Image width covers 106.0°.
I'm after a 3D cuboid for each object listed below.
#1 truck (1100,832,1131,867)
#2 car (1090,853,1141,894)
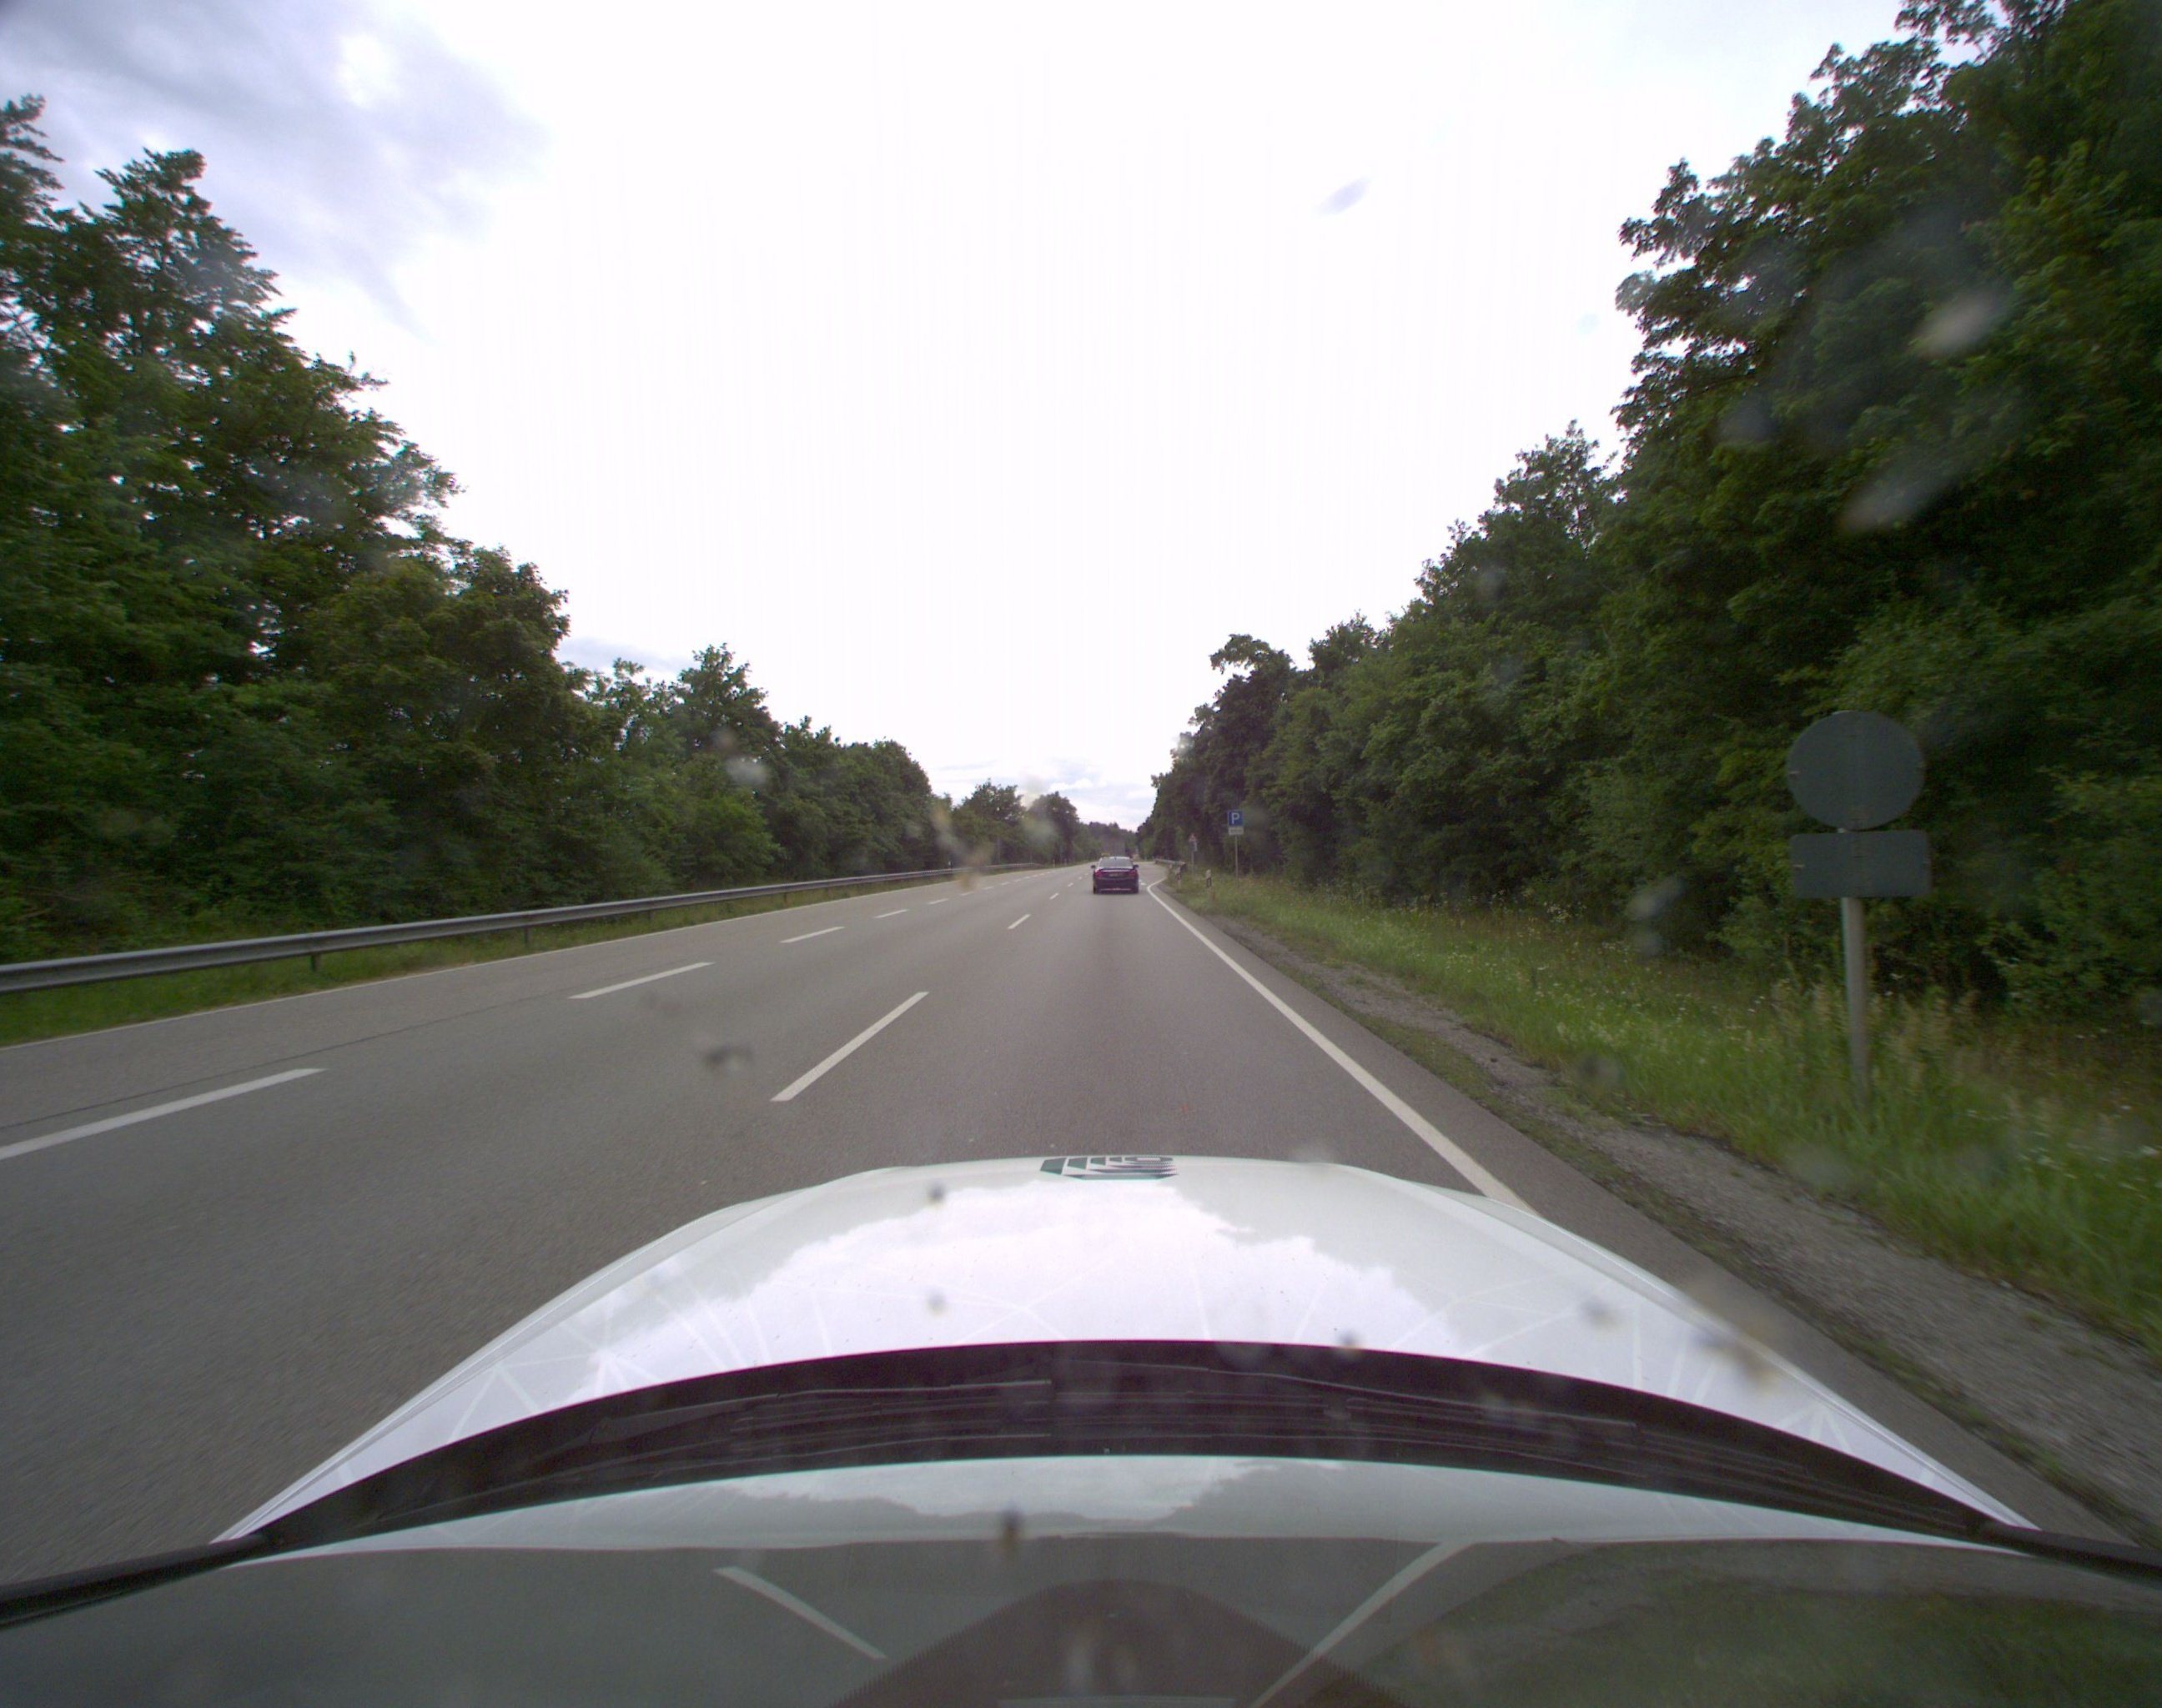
[{"bbox_3d":[3.847,-0.463,92.032,3.268,3.611,11.404,-1,0,2],"label":"truck"},{"bbox_3d":[1.364,0.749,33.465,1.787,1.552,3.996,-1,0,-2],"label":"car"}]
